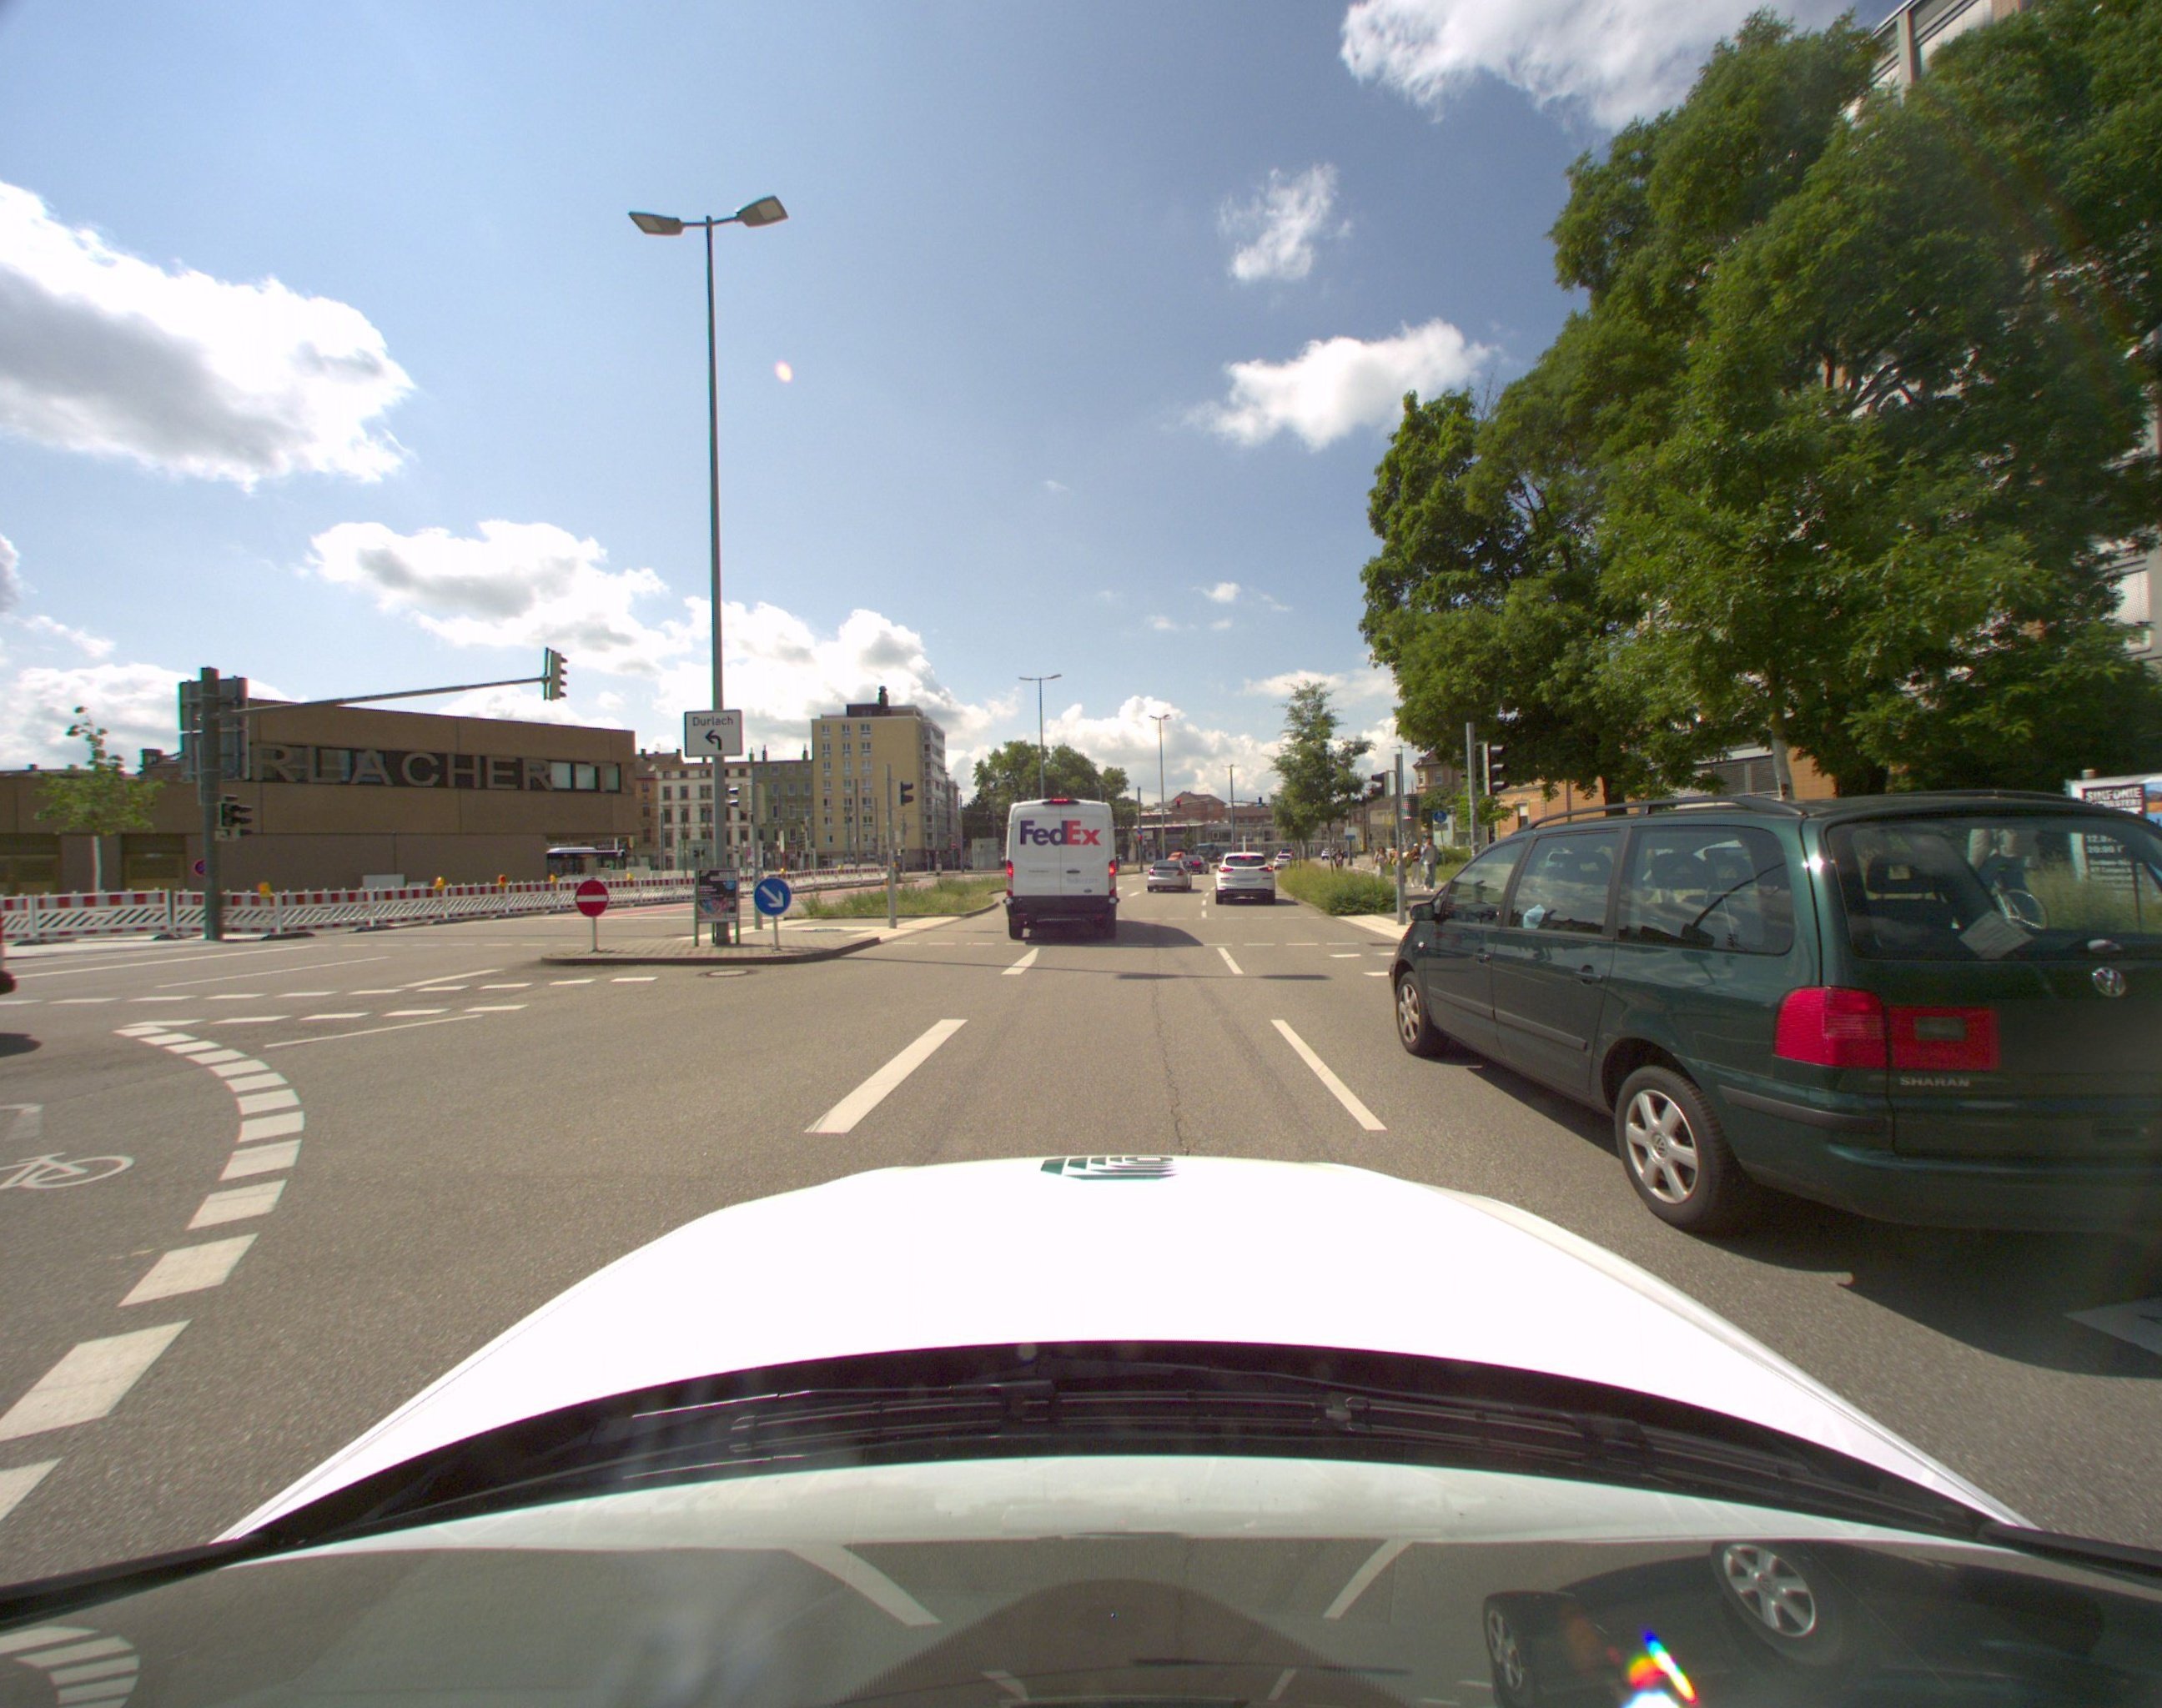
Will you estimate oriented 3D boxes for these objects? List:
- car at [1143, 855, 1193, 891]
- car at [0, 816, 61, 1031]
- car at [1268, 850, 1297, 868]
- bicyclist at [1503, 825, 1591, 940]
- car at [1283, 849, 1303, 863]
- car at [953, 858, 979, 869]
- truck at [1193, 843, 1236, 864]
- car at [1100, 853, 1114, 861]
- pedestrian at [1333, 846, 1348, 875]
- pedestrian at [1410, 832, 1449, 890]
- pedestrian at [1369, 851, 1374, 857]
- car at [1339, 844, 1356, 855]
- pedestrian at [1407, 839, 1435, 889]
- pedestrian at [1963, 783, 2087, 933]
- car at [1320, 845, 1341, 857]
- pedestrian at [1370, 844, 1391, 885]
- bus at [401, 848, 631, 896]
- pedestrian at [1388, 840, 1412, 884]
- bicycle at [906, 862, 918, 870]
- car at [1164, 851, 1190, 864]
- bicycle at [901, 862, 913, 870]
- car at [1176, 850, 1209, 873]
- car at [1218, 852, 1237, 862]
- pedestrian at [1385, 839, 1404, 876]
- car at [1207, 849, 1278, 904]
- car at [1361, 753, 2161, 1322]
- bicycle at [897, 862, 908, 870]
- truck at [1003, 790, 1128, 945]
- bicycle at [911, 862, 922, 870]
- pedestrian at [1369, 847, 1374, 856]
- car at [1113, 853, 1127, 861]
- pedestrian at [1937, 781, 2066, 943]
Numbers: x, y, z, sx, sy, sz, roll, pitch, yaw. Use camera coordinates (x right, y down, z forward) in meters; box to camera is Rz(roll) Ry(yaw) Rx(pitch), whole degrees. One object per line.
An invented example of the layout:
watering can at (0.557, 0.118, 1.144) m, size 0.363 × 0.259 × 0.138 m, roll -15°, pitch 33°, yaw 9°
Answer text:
car at (3.910, 0.801, 36.010) m, size 1.729 × 1.391 × 4.194 m, roll -2°, pitch 0°, yaw 12°
car at (-10.575, 0.649, 5.180) m, size 1.874 × 1.894 × 4.872 m, roll -2°, pitch 0°, yaw 2°
car at (18.968, 0.452, 76.548) m, size 1.864 × 1.641 × 3.980 m, roll -2°, pitch 0°, yaw 25°
bicyclist at (6.866, 0.416, 12.024) m, size 0.825 × 1.601 × 0.579 m, roll -4°, pitch -1°, yaw -1°
car at (26.321, 0.189, 101.028) m, size 1.864 × 1.641 × 3.979 m, roll -2°, pitch 0°, yaw 23°
car at (-19.125, 1.613, 135.390) m, size 4.083 × 1.858 × 1.984 m, roll -1°, pitch -1°, yaw 0°
truck at (20.289, -0.143, 123.292) m, size 2.857 × 2.852 × 8.849 m, roll -2°, pitch 0°, yaw 35°
car at (5.459, 0.605, 168.759) m, size 1.979 × 1.574 × 4.193 m, roll -1°, pitch -1°, yaw 14°
pedestrian at (14.177, 0.370, 44.496) m, size 0.750 × 1.590 × 0.764 m, roll -1°, pitch -1°, yaw 15°
pedestrian at (11.518, 0.237, 26.904) m, size 0.755 × 1.821 × 0.778 m, roll -5°, pitch -1°, yaw -6°
pedestrian at (45.543, -0.066, 127.684) m, size 0.519 × 0.906 × 1.571 m, roll -1°, pitch -1°, yaw 31°
car at (41.485, -0.679, 126.529) m, size 1.863 × 1.641 × 3.981 m, roll -2°, pitch 0°, yaw 27°
pedestrian at (12.508, 0.378, 29.955) m, size 0.753 × 1.821 × 0.638 m, roll -1°, pitch -1°, yaw 0°
pedestrian at (11.570, 0.044, 10.000) m, size 0.747 × 1.752 × 0.609 m, roll -3°, pitch 0°, yaw -2°
car at (35.954, -0.456, 117.378) m, size 1.863 × 1.641 × 3.982 m, roll -2°, pitch 0°, yaw 32°
pedestrian at (12.342, 0.420, 33.620) m, size 0.645 × 1.626 × 0.777 m, roll -4°, pitch -2°, yaw 16°
bus at (-37.129, 1.117, 54.276) m, size 2.562 × 2.859 × 12.339 m, roll -2°, pitch -1°, yaw 44°
pedestrian at (11.815, 0.302, 30.137) m, size 0.585 × 1.626 × 0.728 m, roll -1°, pitch -1°, yaw 0°
bicycle at (-24.739, 1.740, 119.203) m, size 2.108 × 1.147 × 0.537 m, roll -2°, pitch -1°, yaw 44°
car at (14.702, 0.568, 124.040) m, size 1.701 × 1.800 × 4.771 m, roll -3°, pitch -1°, yaw 36°
bicycle at (-25.452, 1.745, 118.987) m, size 2.108 × 1.147 × 0.514 m, roll -1°, pitch -1°, yaw 43°
car at (8.711, 0.559, 63.393) m, size 1.914 × 1.641 × 4.812 m, roll -2°, pitch 0°, yaw 15°
car at (21.614, 0.434, 119.945) m, size 1.638 × 1.469 × 4.179 m, roll -2°, pitch 0°, yaw 27°
pedestrian at (15.504, 0.180, 40.244) m, size 0.750 × 1.821 × 0.676 m, roll -1°, pitch -1°, yaw 13°
car at (5.264, 0.679, 27.019) m, size 1.872 × 1.641 × 4.239 m, roll -2°, pitch 0°, yaw 6°
car at (3.209, 0.559, 4.699) m, size 1.787 × 1.723 × 4.449 m, roll 0°, pitch 0°, yaw 2°
bicycle at (-26.069, 1.747, 118.737) m, size 2.108 × 1.147 × 0.514 m, roll -1°, pitch -1°, yaw 43°
truck at (-0.262, 0.255, 16.971) m, size 2.130 × 2.640 × 5.916 m, roll -1°, pitch 0°, yaw 0°
bicycle at (-24.156, 1.739, 119.508) m, size 2.108 × 1.147 × 0.514 m, roll -1°, pitch -1°, yaw 43°
pedestrian at (45.561, -0.406, 127.728) m, size 0.685 × 1.457 × 0.684 m, roll -1°, pitch -1°, yaw 31°
car at (8.076, 0.563, 167.820) m, size 1.979 × 1.574 × 4.193 m, roll -1°, pitch -1°, yaw 14°
pedestrian at (10.759, 0.086, 9.543) m, size 0.747 × 1.802 × 0.609 m, roll -3°, pitch 0°, yaw -2°
